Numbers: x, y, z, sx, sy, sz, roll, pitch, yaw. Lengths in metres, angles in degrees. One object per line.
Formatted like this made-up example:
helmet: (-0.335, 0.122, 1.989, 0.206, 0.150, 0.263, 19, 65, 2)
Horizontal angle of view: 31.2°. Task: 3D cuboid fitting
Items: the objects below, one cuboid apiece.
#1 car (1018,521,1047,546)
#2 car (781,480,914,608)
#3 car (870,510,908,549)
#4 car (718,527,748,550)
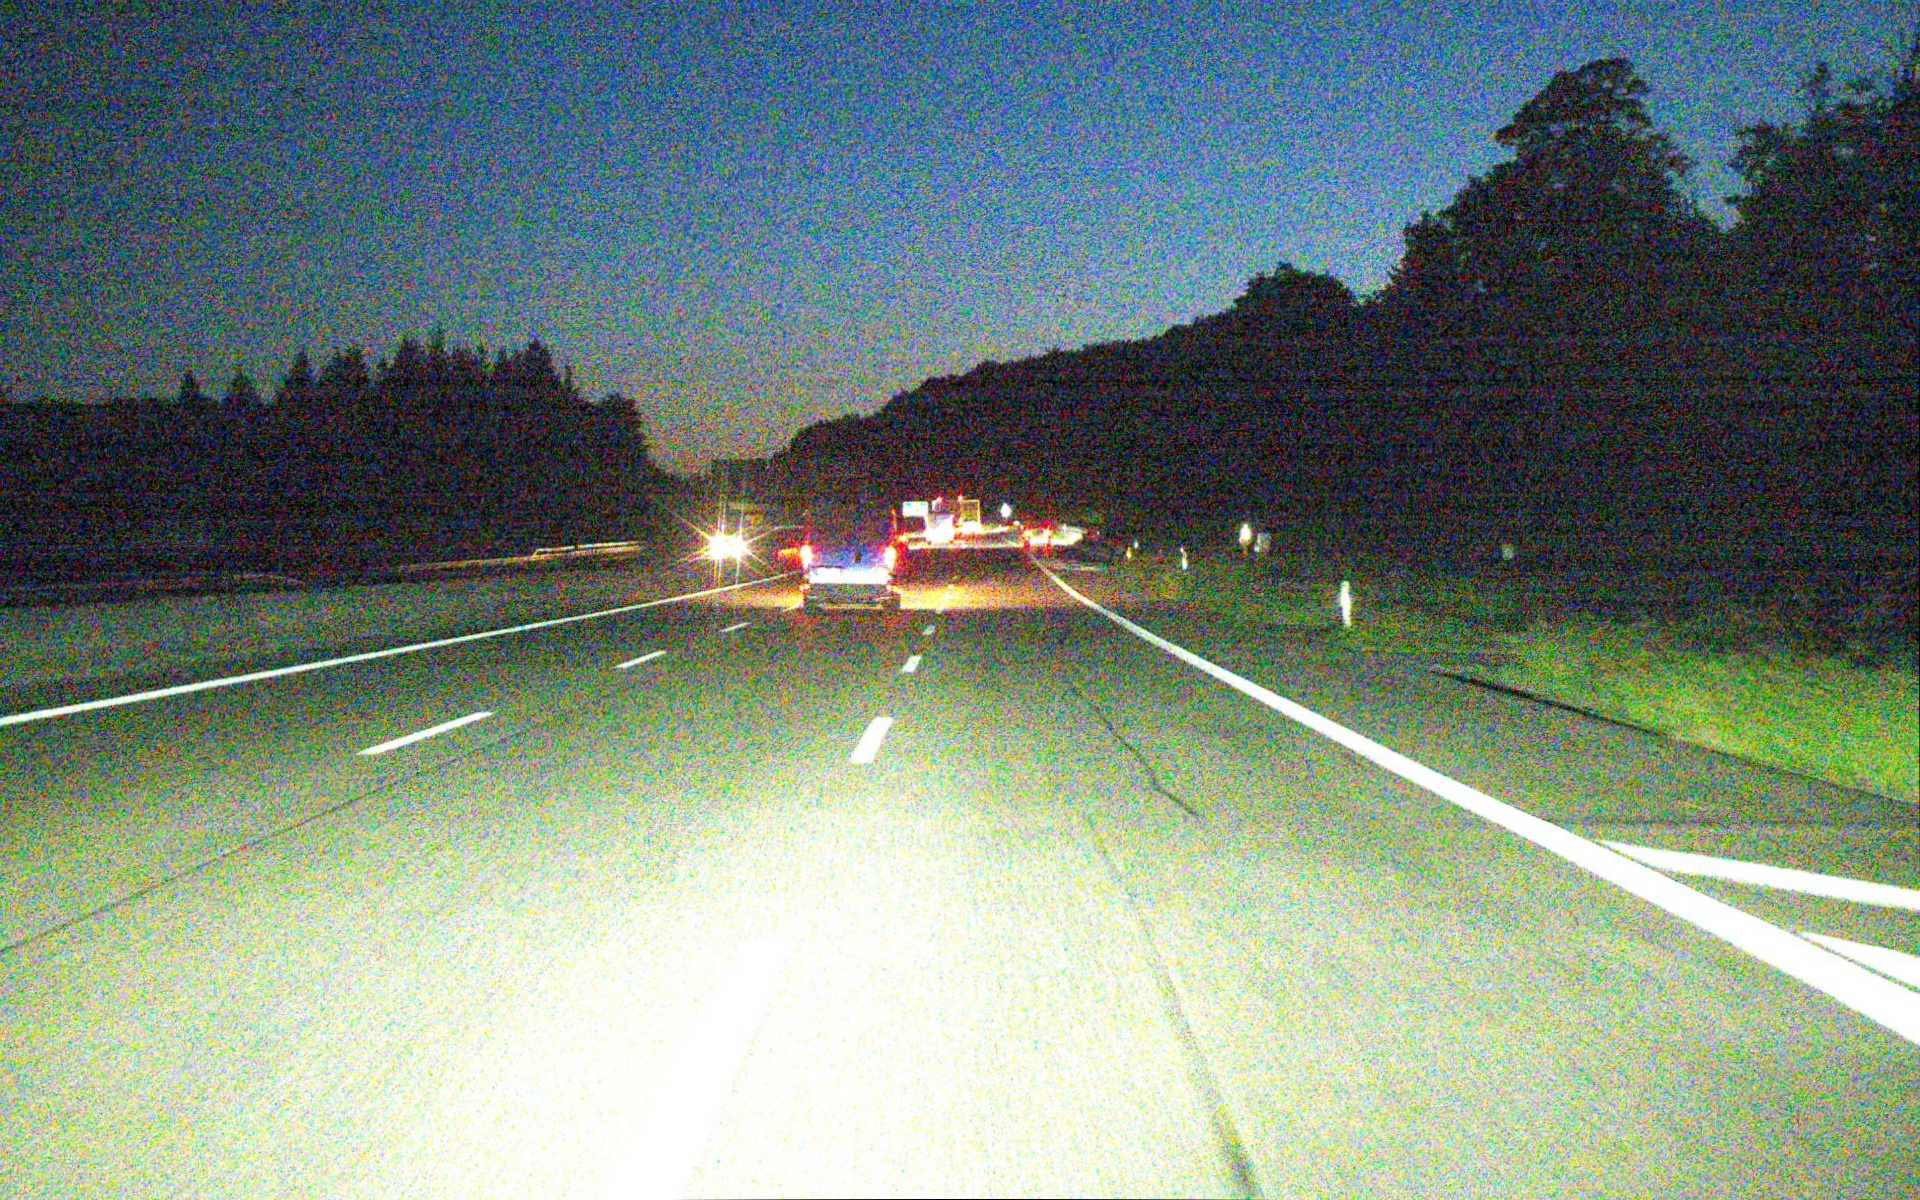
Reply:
car: (4.939, -4.581, 235.137, 1.843, 1.634, 4.001, 0, 2, 0)
car: (-2.444, -1.274, 76.601, 2.786, 2.724, 6.300, 0, 1, 0)
car: (-5.308, -5.241, 255.668, 2.786, 2.724, 6.299, 0, 0, -1)
car: (-16.807, -4.582, 254.792, 1.932, 1.599, 4.954, -1, 1, 0)
